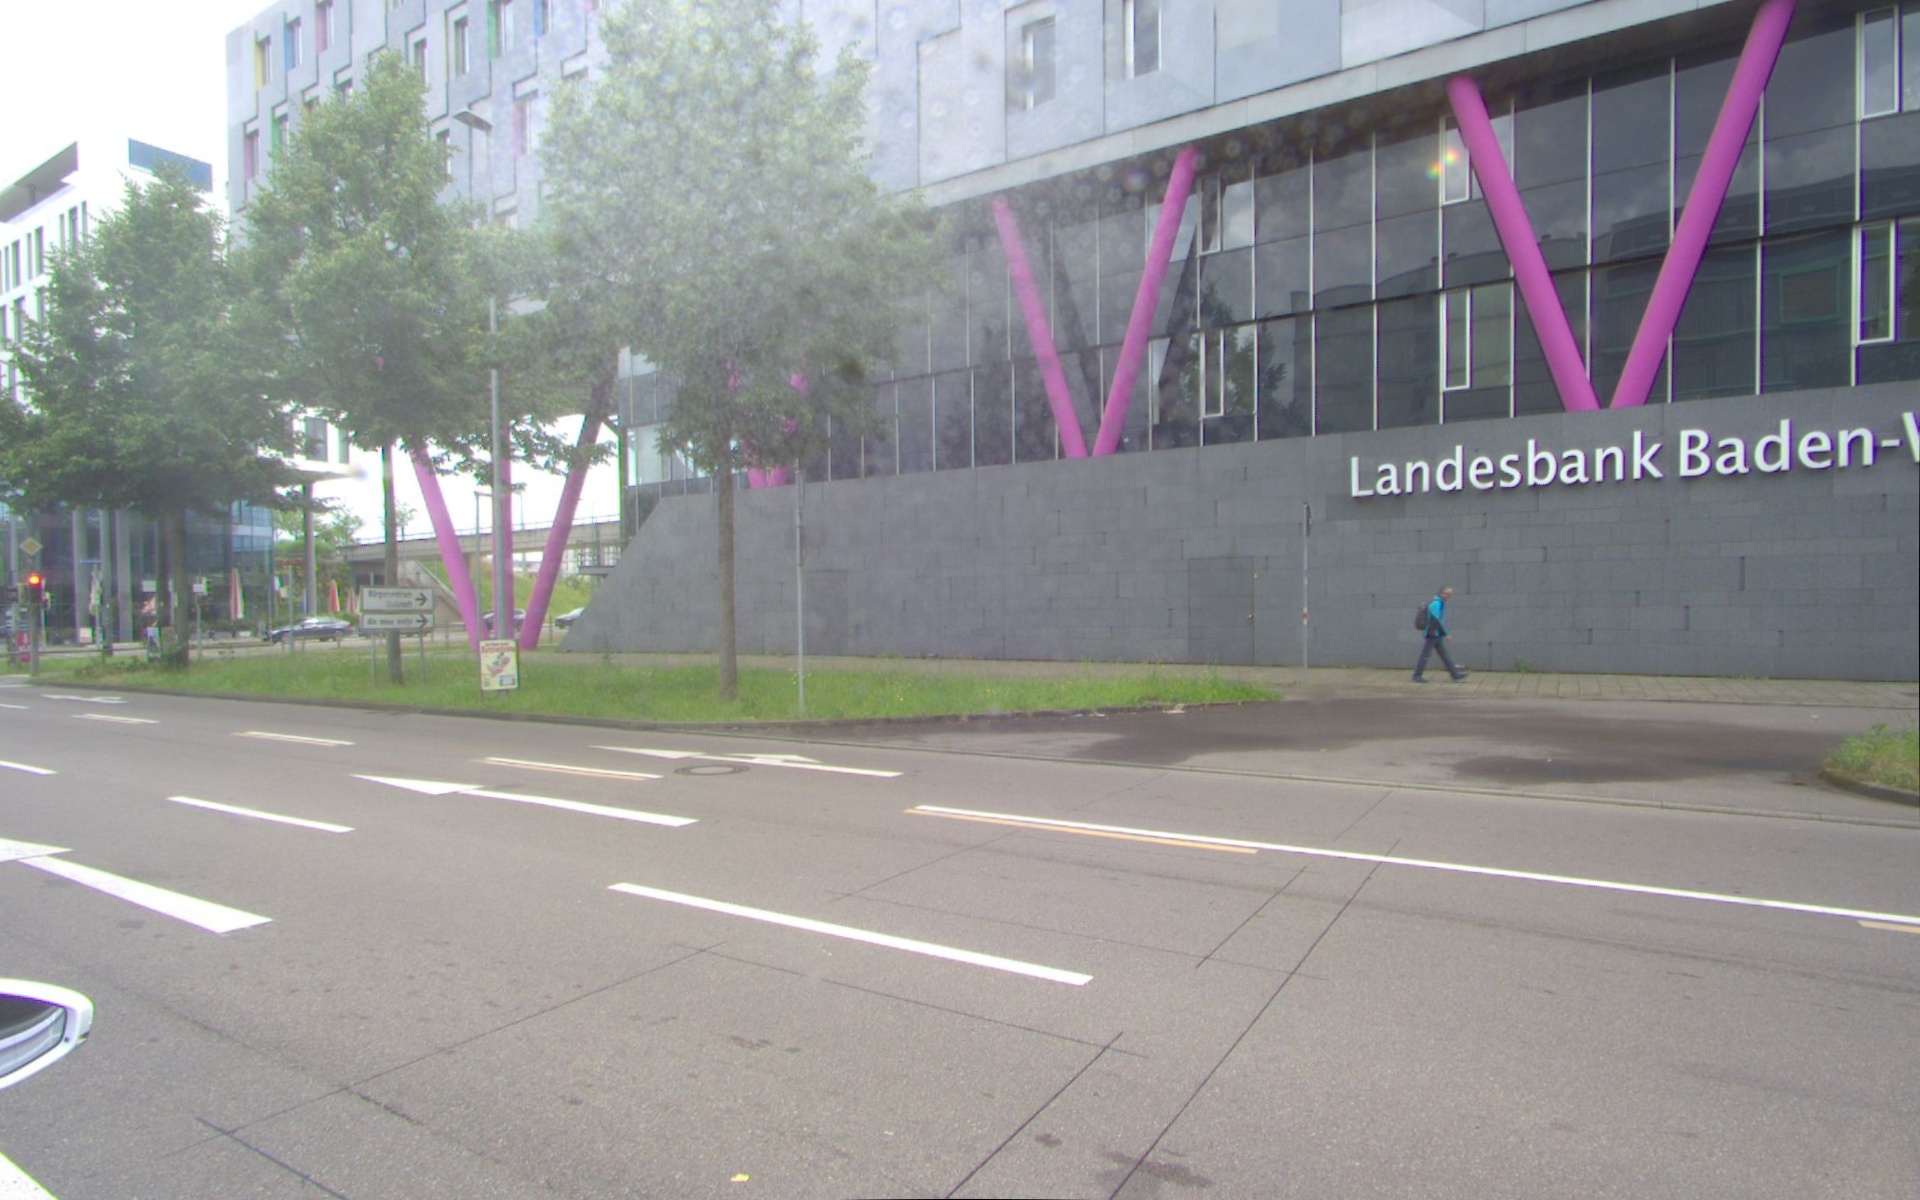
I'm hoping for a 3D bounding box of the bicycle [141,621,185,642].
[{"bbox_3d":[-44.012,1.710,55.335,0.609,1.100,1.787,0,0,34],"label":"bicycle"}]

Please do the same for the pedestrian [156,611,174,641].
[{"bbox_3d":[-43.972,1.442,55.393,0.610,1.625,0.613,0,1,34],"label":"pedestrian"}]

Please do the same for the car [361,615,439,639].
[{"bbox_3d":[-36.241,1.721,64.928,1.734,1.474,4.070,0,0,34],"label":"car"}]

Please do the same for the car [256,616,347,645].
[{"bbox_3d":[-39.173,1.795,59.654,1.734,1.636,4.240,0,0,34],"label":"car"}]

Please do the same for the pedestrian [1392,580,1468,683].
[{"bbox_3d":[8.524,0.543,18.145,1.121,1.794,1.049,0,1,33],"label":"pedestrian"}]
